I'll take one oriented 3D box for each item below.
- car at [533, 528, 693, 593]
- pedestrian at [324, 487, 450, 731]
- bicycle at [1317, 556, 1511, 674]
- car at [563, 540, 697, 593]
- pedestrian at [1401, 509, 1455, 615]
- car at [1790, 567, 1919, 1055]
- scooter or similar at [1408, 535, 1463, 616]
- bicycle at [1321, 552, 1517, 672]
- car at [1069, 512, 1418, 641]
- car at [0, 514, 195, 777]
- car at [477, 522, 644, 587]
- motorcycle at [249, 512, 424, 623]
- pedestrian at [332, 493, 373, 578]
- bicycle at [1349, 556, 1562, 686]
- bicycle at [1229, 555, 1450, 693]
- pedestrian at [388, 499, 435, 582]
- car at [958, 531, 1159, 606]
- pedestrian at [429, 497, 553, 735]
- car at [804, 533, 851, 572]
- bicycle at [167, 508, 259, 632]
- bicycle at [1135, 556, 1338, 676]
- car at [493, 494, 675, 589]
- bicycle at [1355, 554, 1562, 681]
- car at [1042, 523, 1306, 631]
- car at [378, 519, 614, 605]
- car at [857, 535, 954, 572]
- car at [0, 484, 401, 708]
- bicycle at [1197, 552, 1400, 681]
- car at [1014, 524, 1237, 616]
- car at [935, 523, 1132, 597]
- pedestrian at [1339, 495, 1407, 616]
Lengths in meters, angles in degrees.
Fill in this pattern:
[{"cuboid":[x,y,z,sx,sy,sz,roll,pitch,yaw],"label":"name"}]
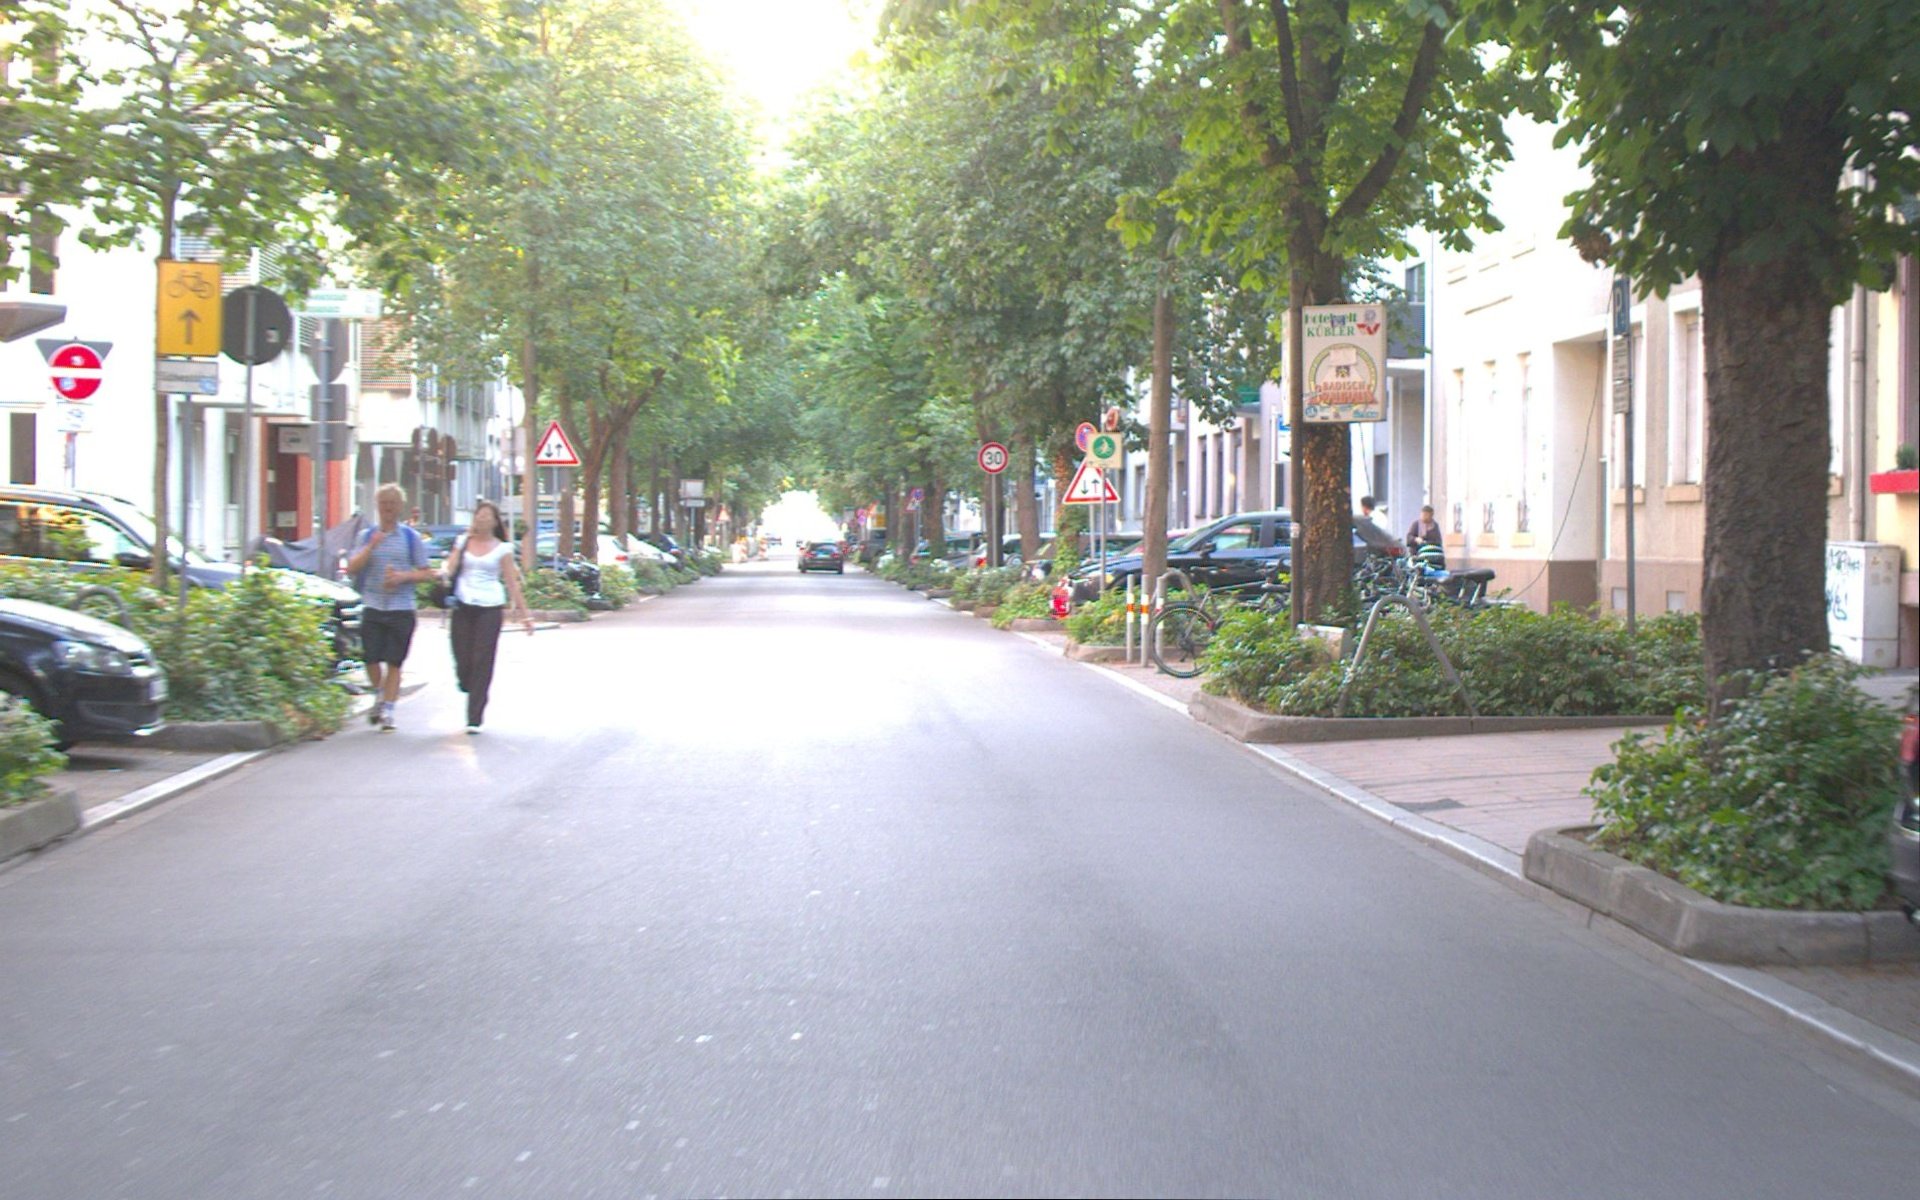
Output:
[{"cuboid":[-10.517,-1.205,104.492,4.682,1.848,1.963,-1,1,-2],"label":"car"},{"cuboid":[-4.149,0.057,24.934,0.794,1.731,0.831,-1,1,-3],"label":"pedestrian"},{"cuboid":[4.415,0.143,33.466,1.794,1.104,0.500,-1,1,-8],"label":"bicycle"},{"cuboid":[-10.751,-1.105,112.215,4.202,1.630,1.963,-1,1,-2],"label":"car"},{"cuboid":[6.822,-0.560,50.129,0.655,1.531,0.831,0,1,-2],"label":"pedestrian"},{"cuboid":[4.937,0.510,10.167,4.400,1.389,1.886,-3,1,-4],"label":"car"},{"cuboid":[6.846,-0.356,49.503,0.655,1.149,0.831,0,1,-2],"label":"scooter or similar"},{"cuboid":[4.559,0.108,34.157,1.794,1.139,0.669,-1,1,-11],"label":"bicycle"},{"cuboid":[3.702,-0.327,45.490,4.425,1.650,1.900,0,1,-1],"label":"car"},{"cuboid":[-6.616,0.197,20.536,3.692,1.453,1.873,2,2,-3],"label":"car"},{"cuboid":[-9.716,-1.104,83.786,3.870,1.481,1.757,1,1,-1],"label":"car"},{"cuboid":[-8.527,-0.442,47.018,2.208,1.476,0.859,0,2,-21],"label":"motorcycle"},{"cuboid":[-12.560,-1.332,71.118,0.703,1.722,0.905,1,0,-2],"label":"pedestrian"},{"cuboid":[4.500,0.184,31.279,1.794,1.124,0.664,-1,1,-8],"label":"bicycle"},{"cuboid":[3.339,0.204,30.324,1.829,1.174,0.673,-1,1,-3],"label":"bicycle"},{"cuboid":[-11.729,-1.266,73.504,0.704,1.751,0.739,1,0,21],"label":"pedestrian"},{"cuboid":[1.989,-0.659,70.124,3.876,1.435,1.848,-1,1,-5],"label":"car"},{"cuboid":[-3.343,0.104,24.556,0.794,1.665,0.831,-1,1,-3],"label":"pedestrian"},{"cuboid":[-5.642,-2.016,146.448,1.956,1.560,4.283,-1,1,-2],"label":"car"},{"cuboid":[-6.712,-0.254,30.950,0.522,1.055,1.862,3,-1,-5],"label":"bicycle"},{"cuboid":[2.714,0.147,33.834,1.837,1.131,0.745,-1,1,-12],"label":"bicycle"},{"cuboid":[-10.041,-1.562,92.053,4.682,2.469,2.000,1,1,-2],"label":"car"},{"cuboid":[4.652,0.154,32.103,1.794,1.139,0.652,-1,1,-11],"label":"bicycle"},{"cuboid":[3.006,-0.342,48.761,3.483,1.447,1.900,-1,1,-4],"label":"car"},{"cuboid":[-8.454,-0.699,62.887,4.126,1.481,1.930,1,1,-3],"label":"car"},{"cuboid":[-2.483,-2.102,155.364,4.268,1.560,1.963,-1,1,-2],"label":"car"},{"cuboid":[-6.916,-0.079,27.933,4.425,1.645,1.873,2,2,-1],"label":"car"},{"cuboid":[3.195,0.149,32.524,1.829,1.174,0.601,-1,1,-3],"label":"bicycle"},{"cuboid":[2.728,-0.518,57.263,3.483,1.447,1.900,-1,1,-4],"label":"car"},{"cuboid":[1.774,-0.993,84.029,4.717,1.704,1.950,1,2,-1],"label":"car"},{"cuboid":[5.985,-0.644,49.791,0.689,1.731,0.674,-1,1,-34],"label":"pedestrian"}]
